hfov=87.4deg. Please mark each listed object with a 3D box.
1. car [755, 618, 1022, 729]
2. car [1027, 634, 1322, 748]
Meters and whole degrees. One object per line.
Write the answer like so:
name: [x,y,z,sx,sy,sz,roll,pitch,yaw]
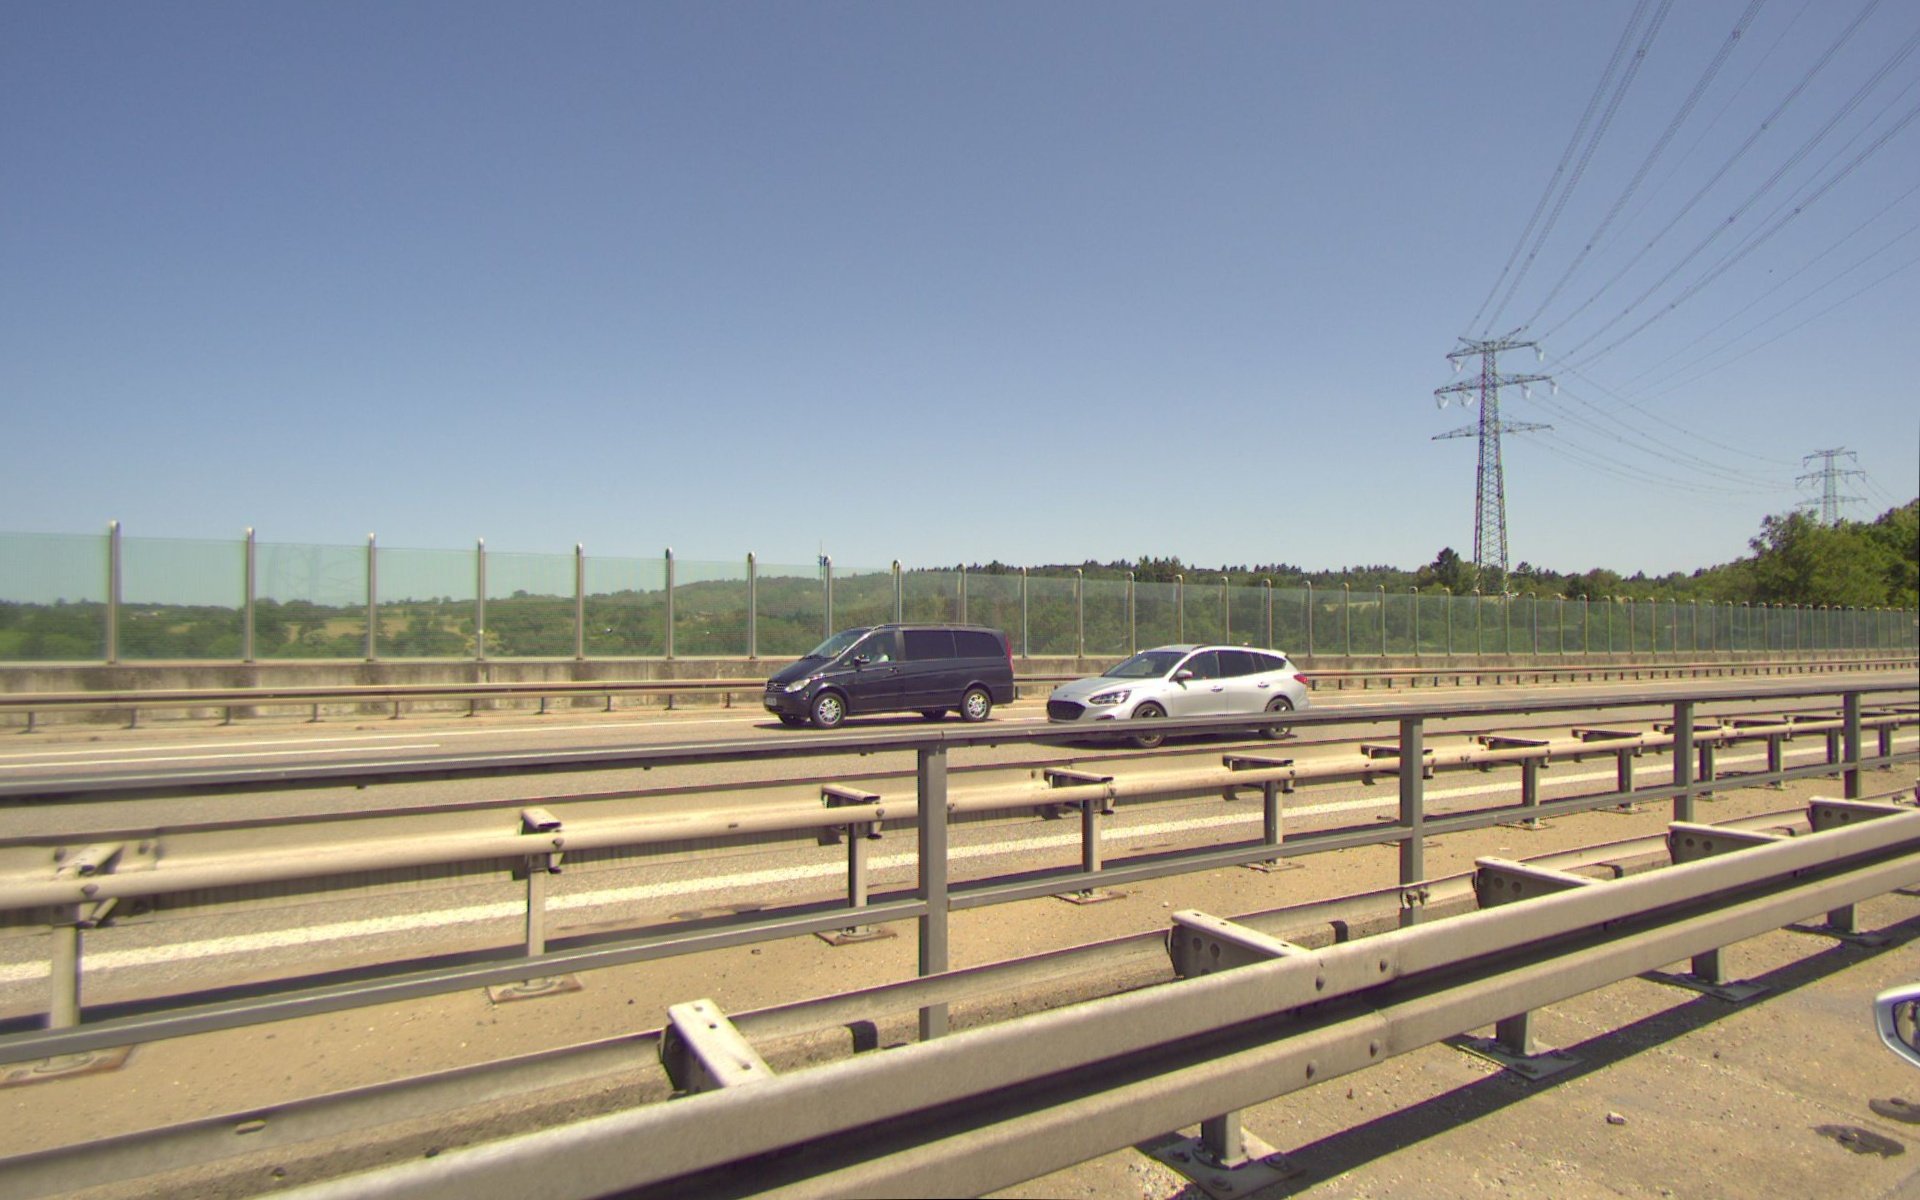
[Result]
car: [-1.322,1.402,19.641,4.896,1.930,1.947,2,-3,-32]
car: [3.395,1.352,15.728,4.334,1.564,1.984,2,-3,-30]
